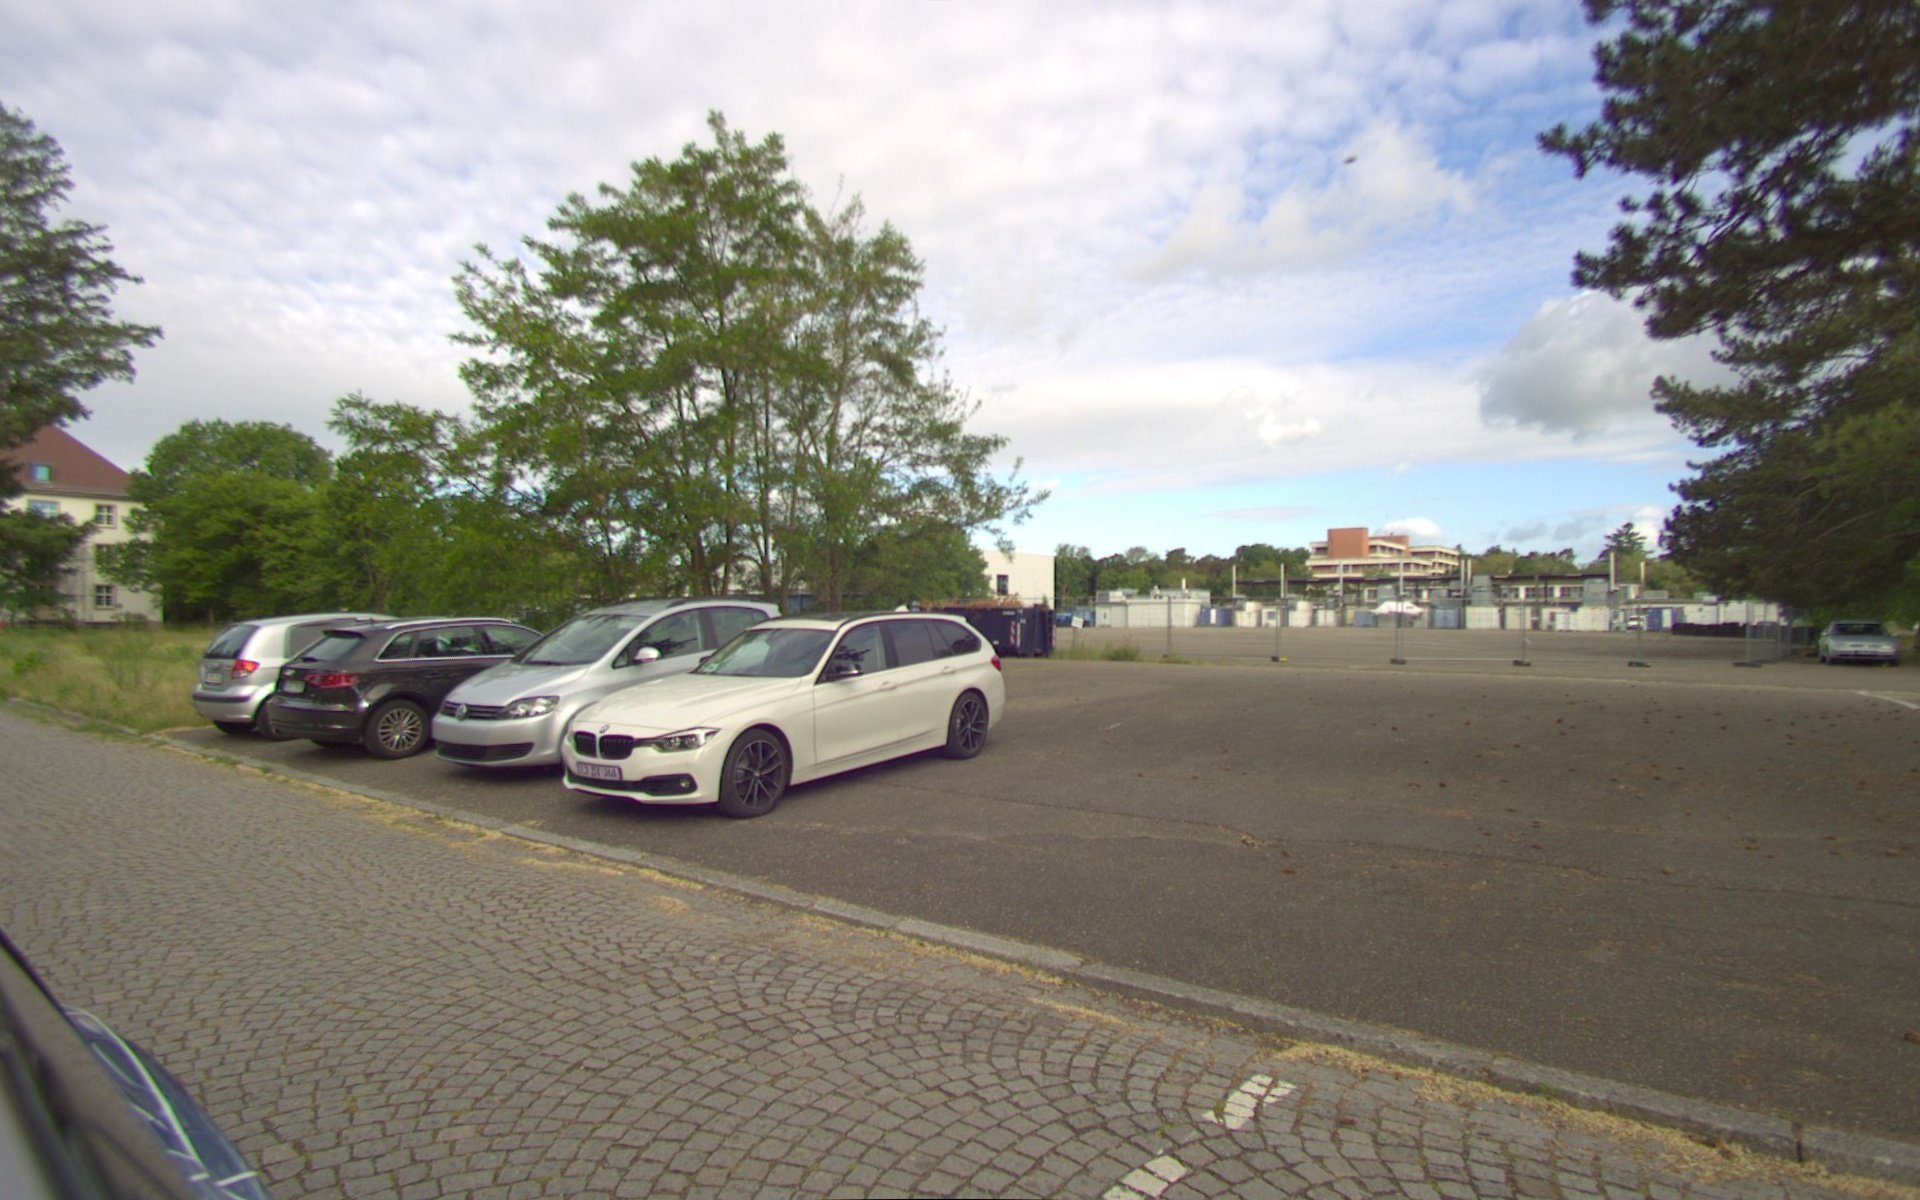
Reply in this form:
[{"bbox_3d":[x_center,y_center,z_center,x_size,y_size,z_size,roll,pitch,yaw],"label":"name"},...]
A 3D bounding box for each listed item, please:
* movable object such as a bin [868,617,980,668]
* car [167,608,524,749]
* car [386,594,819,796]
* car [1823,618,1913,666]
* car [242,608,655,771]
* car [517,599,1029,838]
[{"bbox_3d":[-0.857,1.002,24.580,1.500,1.170,2.365,-1,-1,43],"label":"movable object such as a bin"},{"bbox_3d":[-8.014,0.910,13.496,1.803,1.463,3.648,-1,1,33],"label":"car"},{"bbox_3d":[-3.426,0.781,10.412,1.719,1.559,3.955,-1,1,33],"label":"car"},{"bbox_3d":[28.787,1.289,32.176,1.694,1.403,3.951,-1,-1,36],"label":"car"},{"bbox_3d":[-5.790,0.887,11.882,1.748,1.438,3.951,-1,1,37],"label":"car"},{"bbox_3d":[-1.329,0.790,9.093,1.797,1.454,4.609,-1,1,34],"label":"car"}]
